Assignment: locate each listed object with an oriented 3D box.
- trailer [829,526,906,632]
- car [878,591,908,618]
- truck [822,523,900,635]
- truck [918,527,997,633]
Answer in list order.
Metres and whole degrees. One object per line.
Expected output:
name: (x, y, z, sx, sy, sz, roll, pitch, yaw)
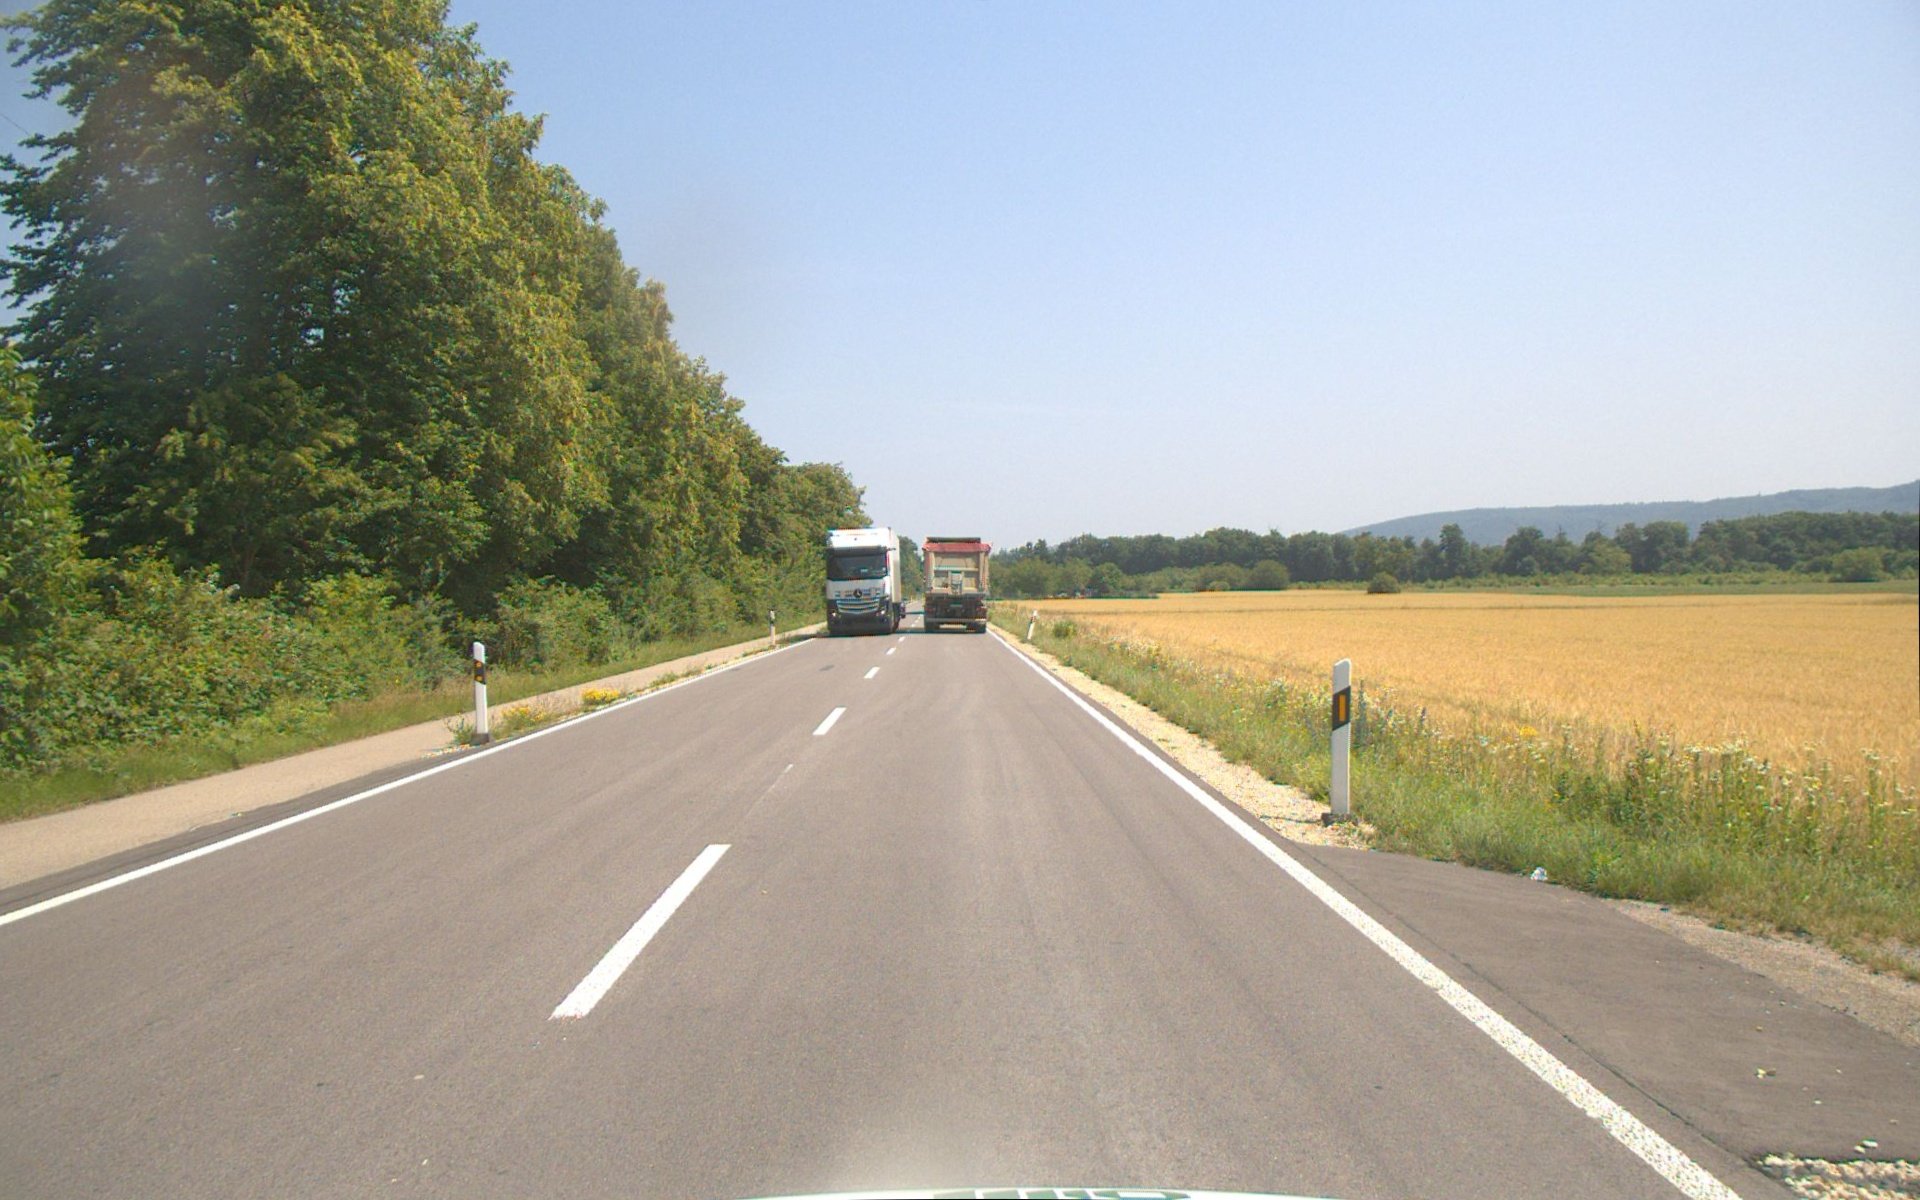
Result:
trailer: (-3.829, -0.852, 71.111, 2.599, 4.046, 13.352, -2, 0, -1)
car: (-4.225, 0.282, 105.216, 1.756, 1.601, 4.478, -2, 0, -1)
truck: (-3.739, -0.788, 63.845, 2.602, 4.046, 5.726, -2, 0, -1)
truck: (-0.149, -0.735, 68.839, 2.948, 3.942, 12.207, 1, 0, -1)
